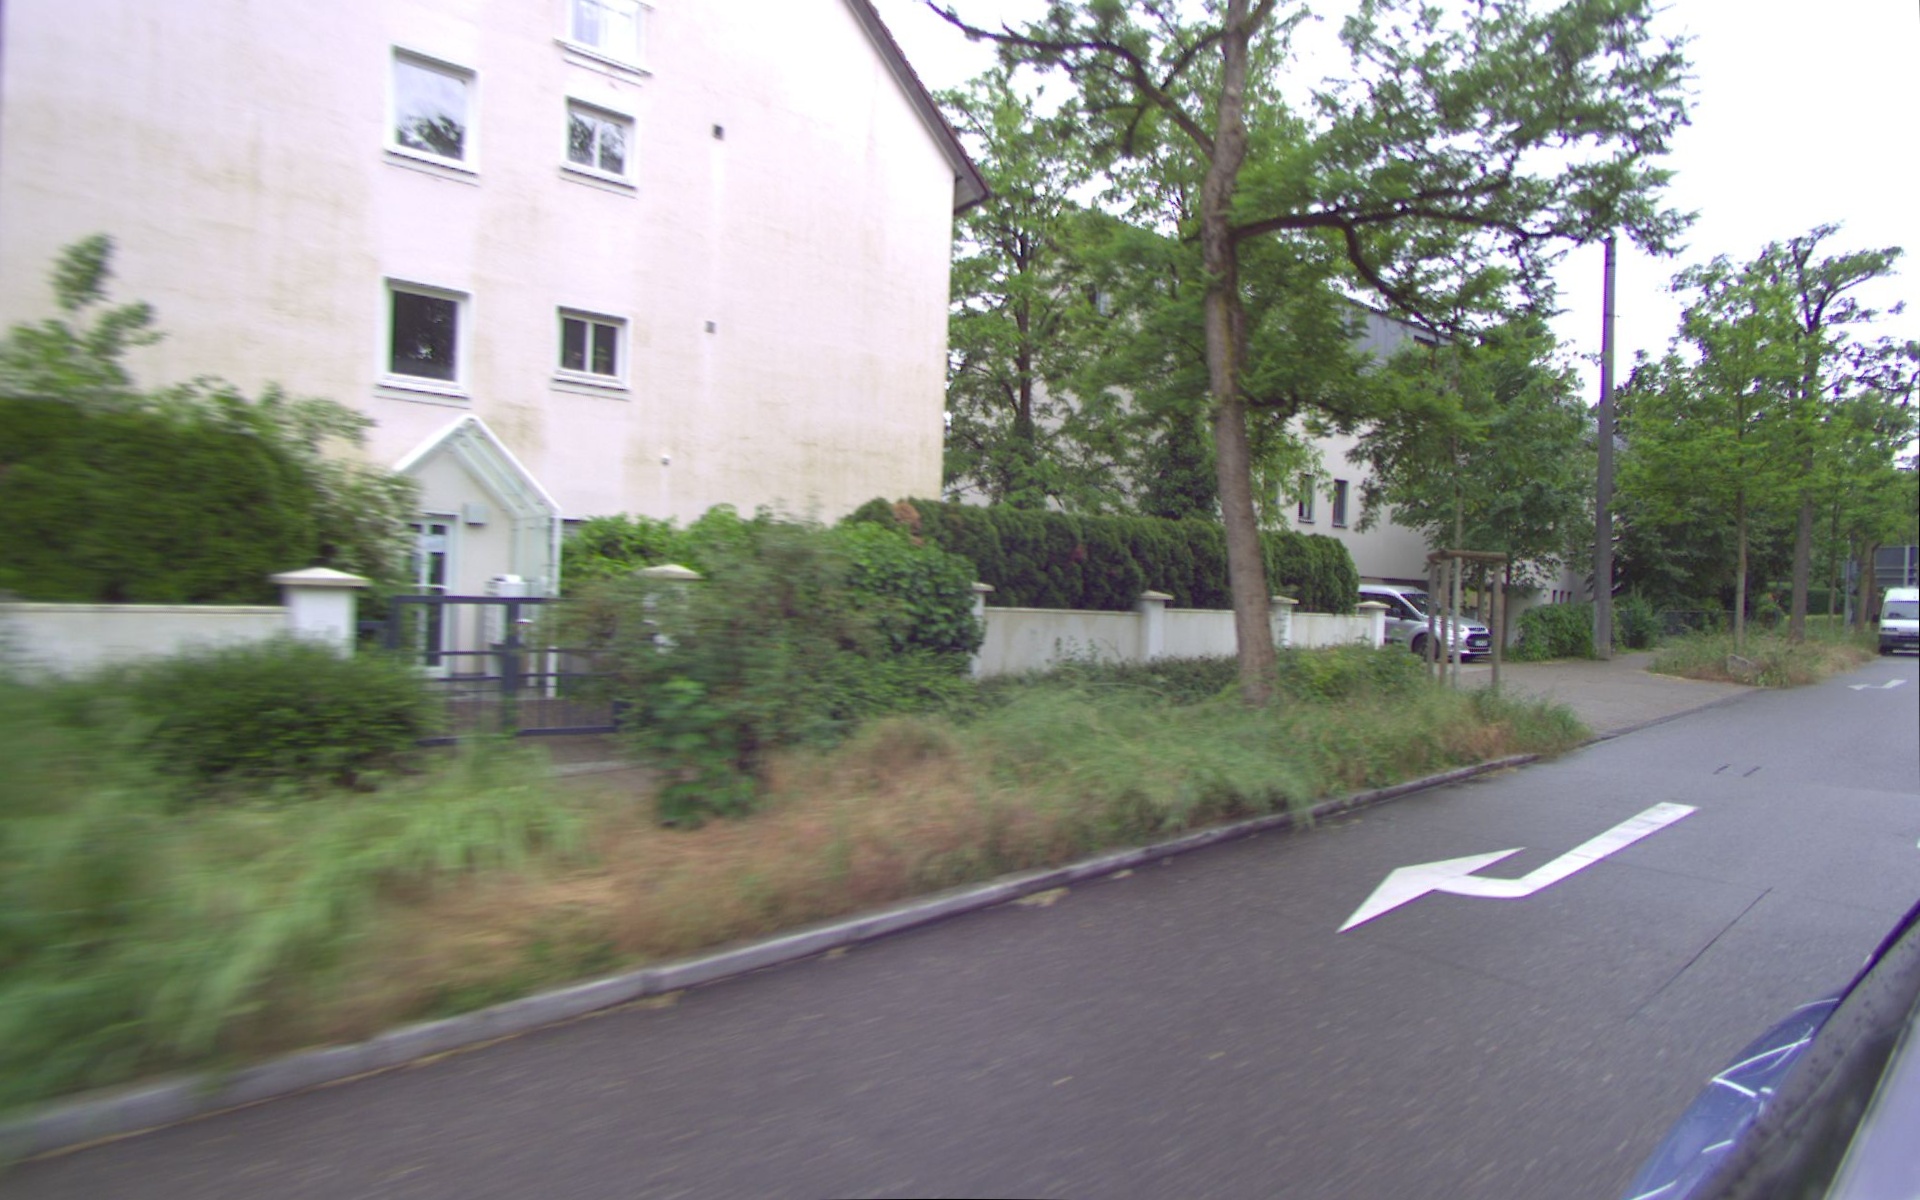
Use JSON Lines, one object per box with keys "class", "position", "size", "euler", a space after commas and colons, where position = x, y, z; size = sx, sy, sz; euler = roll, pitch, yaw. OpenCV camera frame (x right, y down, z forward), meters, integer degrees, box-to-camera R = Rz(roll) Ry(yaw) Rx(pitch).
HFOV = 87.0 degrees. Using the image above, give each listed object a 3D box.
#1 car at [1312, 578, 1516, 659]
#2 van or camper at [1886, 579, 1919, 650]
{"class": "car", "position": [11.131, 0.394, 25.101], "size": [1.837, 1.840, 4.321], "euler": [1, 0, -32]}
{"class": "van or camper", "position": [36.168, 0.512, 37.717], "size": [5.544, 2.511, 2.038], "euler": [0, -1, -44]}
